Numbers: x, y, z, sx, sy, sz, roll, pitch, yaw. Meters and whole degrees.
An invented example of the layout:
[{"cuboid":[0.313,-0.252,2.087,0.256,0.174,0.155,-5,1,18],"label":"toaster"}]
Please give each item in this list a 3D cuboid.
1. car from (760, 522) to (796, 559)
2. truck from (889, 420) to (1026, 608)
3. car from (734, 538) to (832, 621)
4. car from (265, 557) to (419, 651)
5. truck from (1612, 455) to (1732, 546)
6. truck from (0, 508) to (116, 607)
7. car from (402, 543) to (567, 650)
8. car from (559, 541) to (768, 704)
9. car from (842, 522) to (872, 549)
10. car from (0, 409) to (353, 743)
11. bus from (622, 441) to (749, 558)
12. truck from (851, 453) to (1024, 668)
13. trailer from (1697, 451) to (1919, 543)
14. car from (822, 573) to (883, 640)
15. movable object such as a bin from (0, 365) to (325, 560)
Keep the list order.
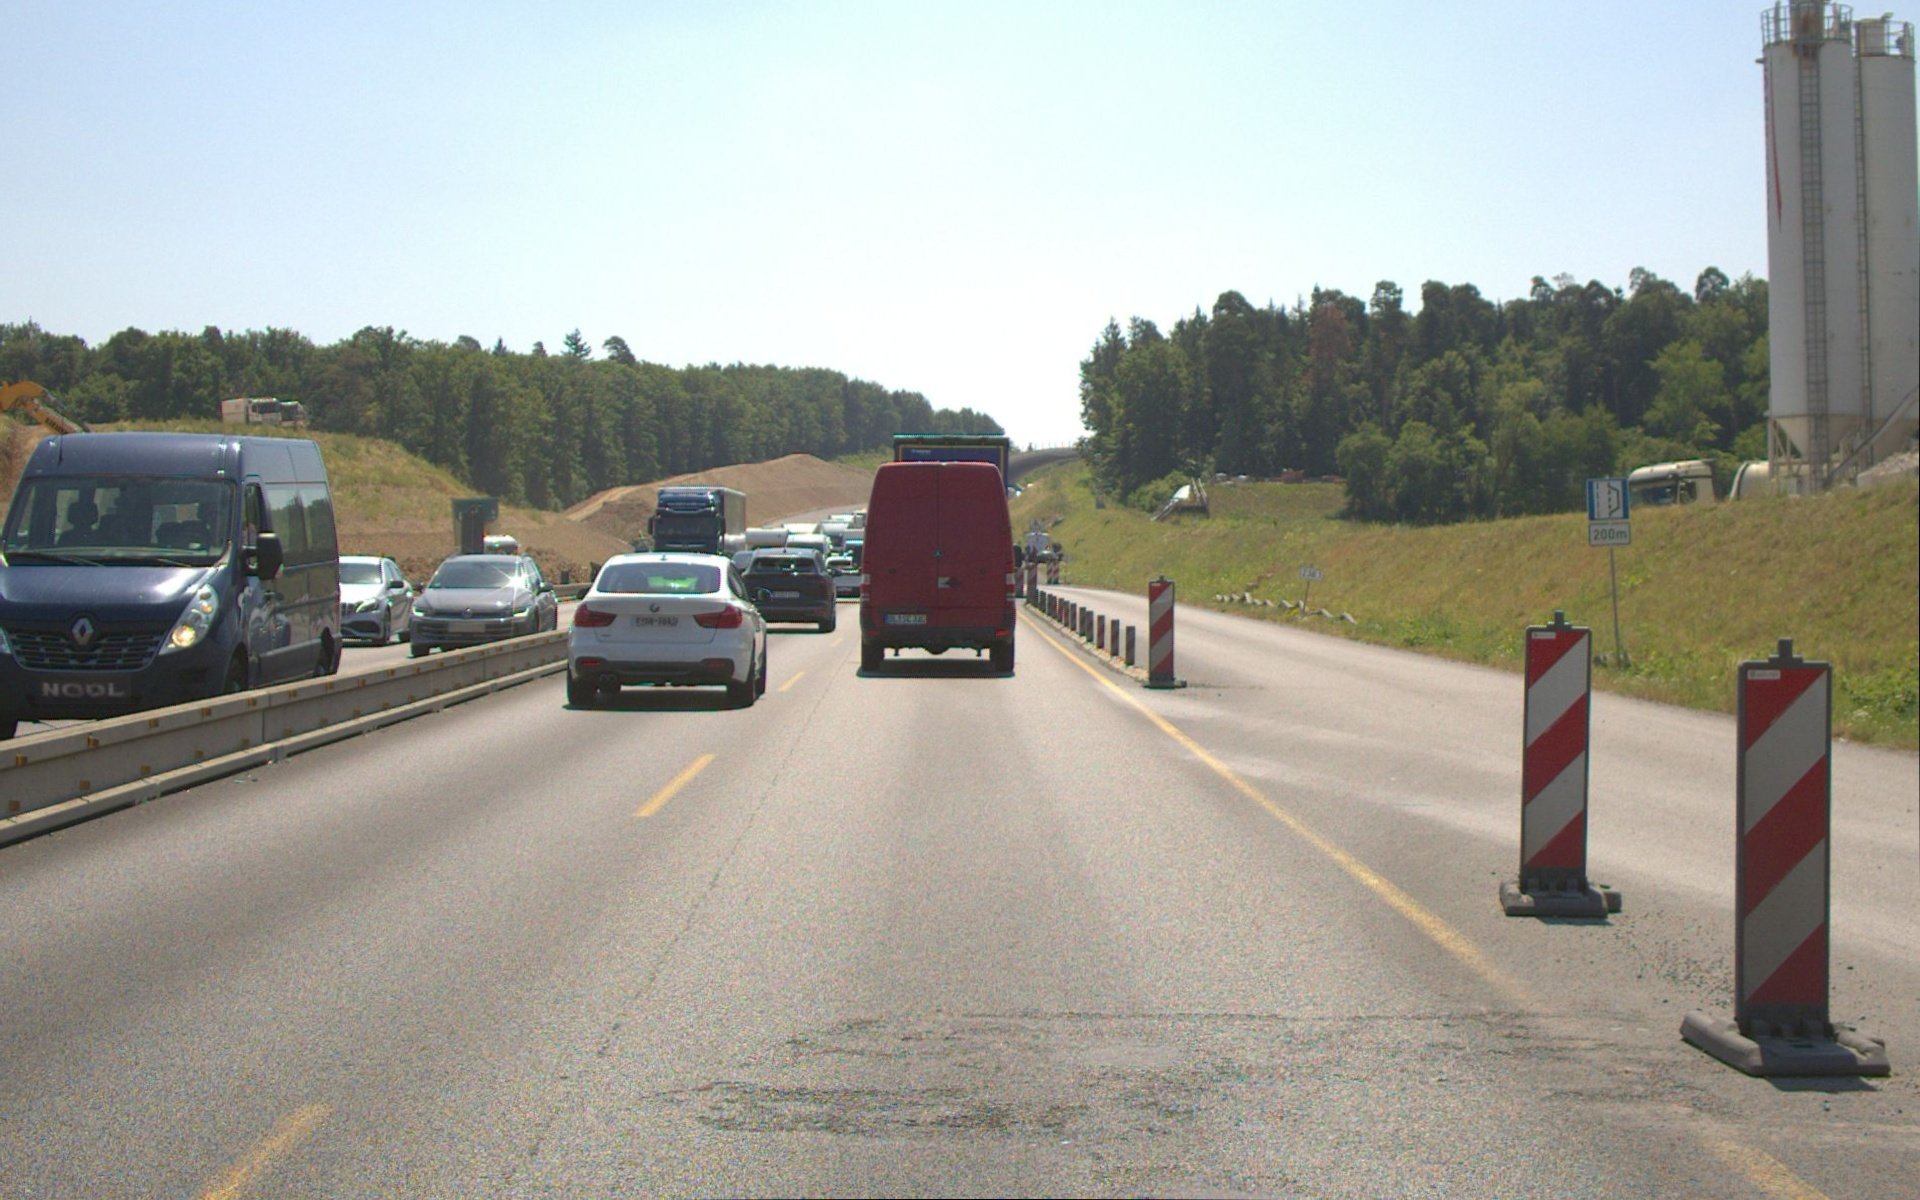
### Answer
[{"cuboid":[-10.019,-3.269,189.586,1.763,2.007,3.827,0,1,0],"label":"car"},{"cuboid":[-0.004,-1.974,80.370,3.015,4.138,8.272,0,1,1],"label":"truck"},{"cuboid":[-3.372,-0.412,66.057,1.795,1.529,3.932,0,1,-2],"label":"car"},{"cuboid":[-10.002,0.031,55.908,1.691,1.429,4.449,1,1,0],"label":"car"},{"cuboid":[25.181,-3.498,121.474,2.899,3.102,6.004,0,1,24],"label":"truck"},{"cuboid":[-25.506,-1.185,94.886,2.316,2.608,8.411,0,1,0],"label":"truck"},{"cuboid":[-6.947,-0.083,50.590,1.786,1.471,4.524,1,1,0],"label":"car"},{"cuboid":[-2.966,0.176,35.288,1.795,1.529,5.073,1,1,-1],"label":"car"},{"cuboid":[-7.329,-4.575,244.543,1.993,1.897,4.000,0,1,0],"label":"car"},{"cuboid":[-6.422,-0.221,28.079,1.955,2.459,5.357,0,1,0],"label":"car"},{"cuboid":[-10.910,-3.953,138.685,3.942,4.400,17.201,0,1,-1],"label":"bus"},{"cuboid":[-0.227,-0.543,45.640,2.111,2.624,6.484,0,1,1],"label":"truck"},{"cuboid":[31.177,-3.673,122.714,8.993,3.218,3.332,-1,1,-14],"label":"trailer"},{"cuboid":[-3.329,0.183,106.734,1.763,2.007,3.827,0,1,0],"label":"car"},{"cuboid":[-33.742,-5.147,130.162,18.710,7.206,3.616,0,1,-2],"label":"movable object such as a bin"}]
